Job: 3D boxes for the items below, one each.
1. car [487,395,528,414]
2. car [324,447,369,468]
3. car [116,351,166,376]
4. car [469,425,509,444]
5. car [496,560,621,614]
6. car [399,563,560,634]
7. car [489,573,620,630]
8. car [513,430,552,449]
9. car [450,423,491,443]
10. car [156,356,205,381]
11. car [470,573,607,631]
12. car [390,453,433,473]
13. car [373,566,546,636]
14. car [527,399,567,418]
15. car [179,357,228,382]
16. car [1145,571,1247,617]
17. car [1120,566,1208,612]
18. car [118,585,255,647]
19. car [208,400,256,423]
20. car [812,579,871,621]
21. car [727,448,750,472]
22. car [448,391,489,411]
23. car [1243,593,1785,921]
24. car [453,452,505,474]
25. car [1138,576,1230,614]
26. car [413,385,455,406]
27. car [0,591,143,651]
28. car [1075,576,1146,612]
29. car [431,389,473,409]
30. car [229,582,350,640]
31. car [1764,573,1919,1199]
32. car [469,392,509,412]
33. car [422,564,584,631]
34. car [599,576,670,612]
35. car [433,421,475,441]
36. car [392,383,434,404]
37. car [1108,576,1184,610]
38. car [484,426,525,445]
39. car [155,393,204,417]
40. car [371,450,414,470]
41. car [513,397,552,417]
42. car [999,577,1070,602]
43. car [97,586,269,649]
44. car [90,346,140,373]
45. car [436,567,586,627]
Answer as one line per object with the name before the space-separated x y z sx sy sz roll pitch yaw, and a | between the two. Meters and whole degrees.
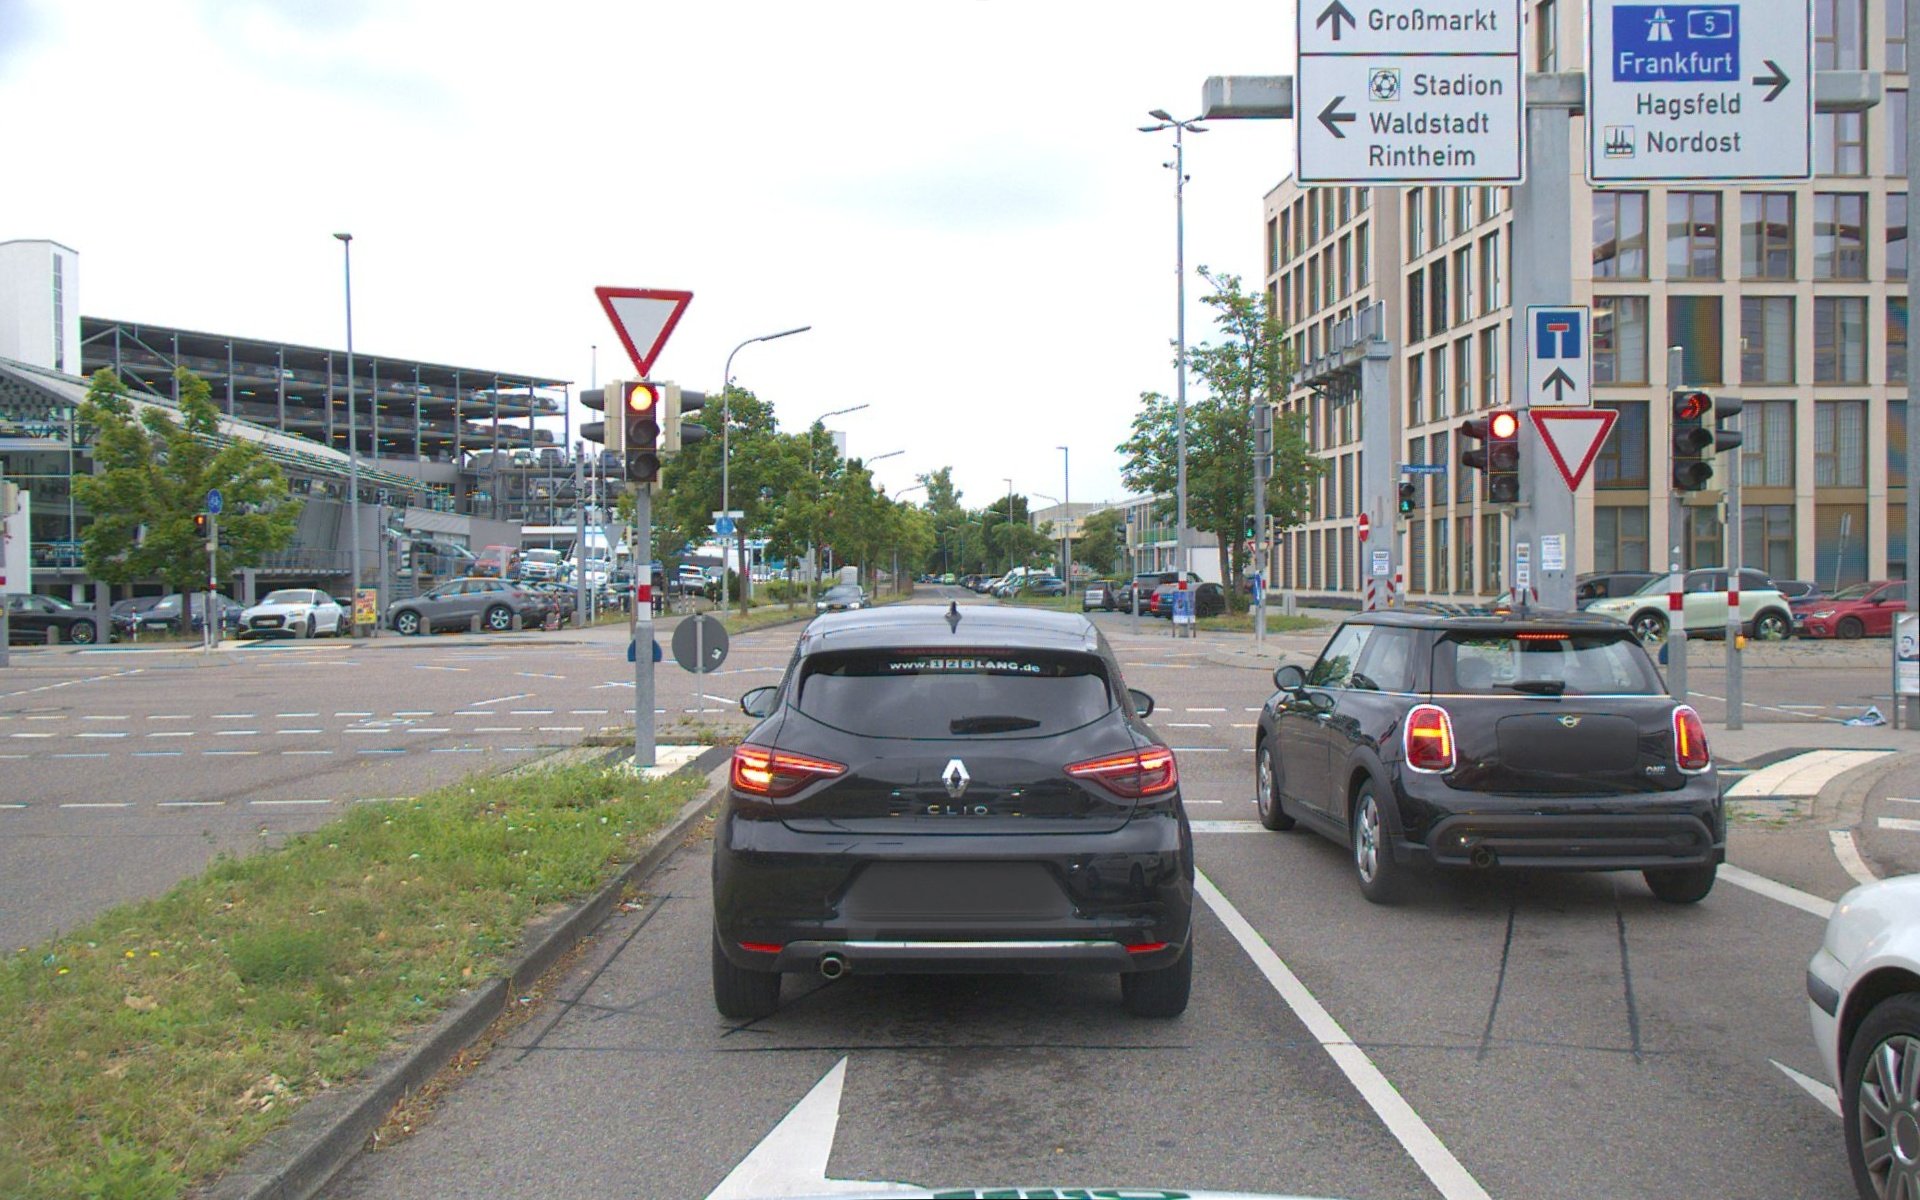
car | -48.100 -20.778 175.822 3.914 1.696 1.996 1 1 31
car | -58.503 -13.599 157.672 3.914 1.696 1.996 1 1 31
car | -69.308 -19.995 139.925 3.914 1.696 1.996 1 1 31
car | -49.444 -17.398 173.664 3.914 1.696 1.996 1 1 31
car | -16.870 -0.529 69.746 4.798 2.049 1.998 -2 0 -6
car | -15.423 -0.035 53.290 4.610 2.049 1.998 -2 0 -5
car | -16.364 0.055 66.941 4.798 2.049 1.998 -2 0 -6
car | -46.300 -17.358 179.021 3.914 1.696 1.996 1 1 31
car | -50.668 -17.289 171.122 3.914 1.696 1.996 1 1 31
car | -67.165 -19.947 142.436 3.914 1.696 1.996 1 1 31
car | -16.324 0.075 64.221 4.798 2.049 1.998 -2 0 -6
car | -54.675 -13.662 164.815 3.914 1.696 1.996 1 1 31
car | -15.283 0.037 50.722 4.680 1.895 1.998 -2 0 -6
car | -45.241 -20.926 181.163 3.914 1.696 1.996 1 1 31
car | -66.155 -20.137 144.632 3.914 1.696 1.996 1 1 31
car | 9.557 -0.234 66.780 4.096 1.799 1.861 0 0 -41
car | 9.202 -0.490 74.364 1.963 2.000 4.221 -1 0 41
car | -21.350 0.470 45.844 2.023 1.512 4.510 -2 -2 -6
car | -64.541 -16.718 146.567 3.914 1.696 1.996 1 1 31
car | -4.600 -0.035 64.569 1.938 1.578 4.614 0 1 0
car | -21.199 -13.369 158.541 1.955 1.915 3.996 -1 0 -5
car | -50.933 -20.596 171.463 3.914 1.696 1.996 1 1 31
car | 2.802 0.712 9.234 1.749 1.440 3.642 1 0 -1
car | -50.659 -14.409 174.119 5.212 1.979 2.208 1 1 28
car | 9.659 -0.205 71.169 1.857 1.578 4.105 -1 0 44
car | -53.083 -20.616 166.828 3.914 1.696 1.996 1 1 31
car | -25.327 0.598 45.594 4.646 1.512 1.891 -1 -2 -4
car | 7.658 -0.297 84.055 3.405 1.762 1.739 1 -1 -43
car | -52.048 -20.568 169.468 3.914 1.696 1.996 1 1 31
car | -18.599 0.340 46.077 1.832 1.512 4.226 -1 -1 -4
car | 3.080 0.702 2.436 1.795 1.504 4.004 1 0 -1
car | -49.455 -20.815 173.692 3.914 1.696 1.996 1 1 31
car | -15.487 -0.085 56.297 4.925 2.049 2.263 -2 0 -5
car | -19.374 -0.352 98.602 3.908 2.049 1.999 1 0 -4
car | -51.765 -17.232 169.144 3.914 1.696 1.996 1 1 31
car | -54.400 -20.565 164.506 3.914 1.696 1.996 1 1 31
car | 8.769 -0.318 77.760 1.667 1.537 3.794 -1 0 42
car | -48.378 -17.454 175.638 3.914 1.696 1.996 1 1 31
car | -67.185 -16.782 142.341 3.914 1.696 1.996 1 1 31
car | -55.745 -13.767 162.365 3.914 1.696 1.996 1 1 31
car | -46.309 -20.904 179.203 3.914 1.696 1.996 1 1 31
car | 5.531 -0.792 123.601 5.070 1.750 2.142 1 0 -3
car | -25.805 0.554 55.058 4.706 1.973 1.999 -1 1 -4
car | -70.385 -20.024 137.733 3.914 1.696 1.996 1 1 31
car | -15.938 -0.094 58.918 4.853 1.909 2.051 -2 0 -7
